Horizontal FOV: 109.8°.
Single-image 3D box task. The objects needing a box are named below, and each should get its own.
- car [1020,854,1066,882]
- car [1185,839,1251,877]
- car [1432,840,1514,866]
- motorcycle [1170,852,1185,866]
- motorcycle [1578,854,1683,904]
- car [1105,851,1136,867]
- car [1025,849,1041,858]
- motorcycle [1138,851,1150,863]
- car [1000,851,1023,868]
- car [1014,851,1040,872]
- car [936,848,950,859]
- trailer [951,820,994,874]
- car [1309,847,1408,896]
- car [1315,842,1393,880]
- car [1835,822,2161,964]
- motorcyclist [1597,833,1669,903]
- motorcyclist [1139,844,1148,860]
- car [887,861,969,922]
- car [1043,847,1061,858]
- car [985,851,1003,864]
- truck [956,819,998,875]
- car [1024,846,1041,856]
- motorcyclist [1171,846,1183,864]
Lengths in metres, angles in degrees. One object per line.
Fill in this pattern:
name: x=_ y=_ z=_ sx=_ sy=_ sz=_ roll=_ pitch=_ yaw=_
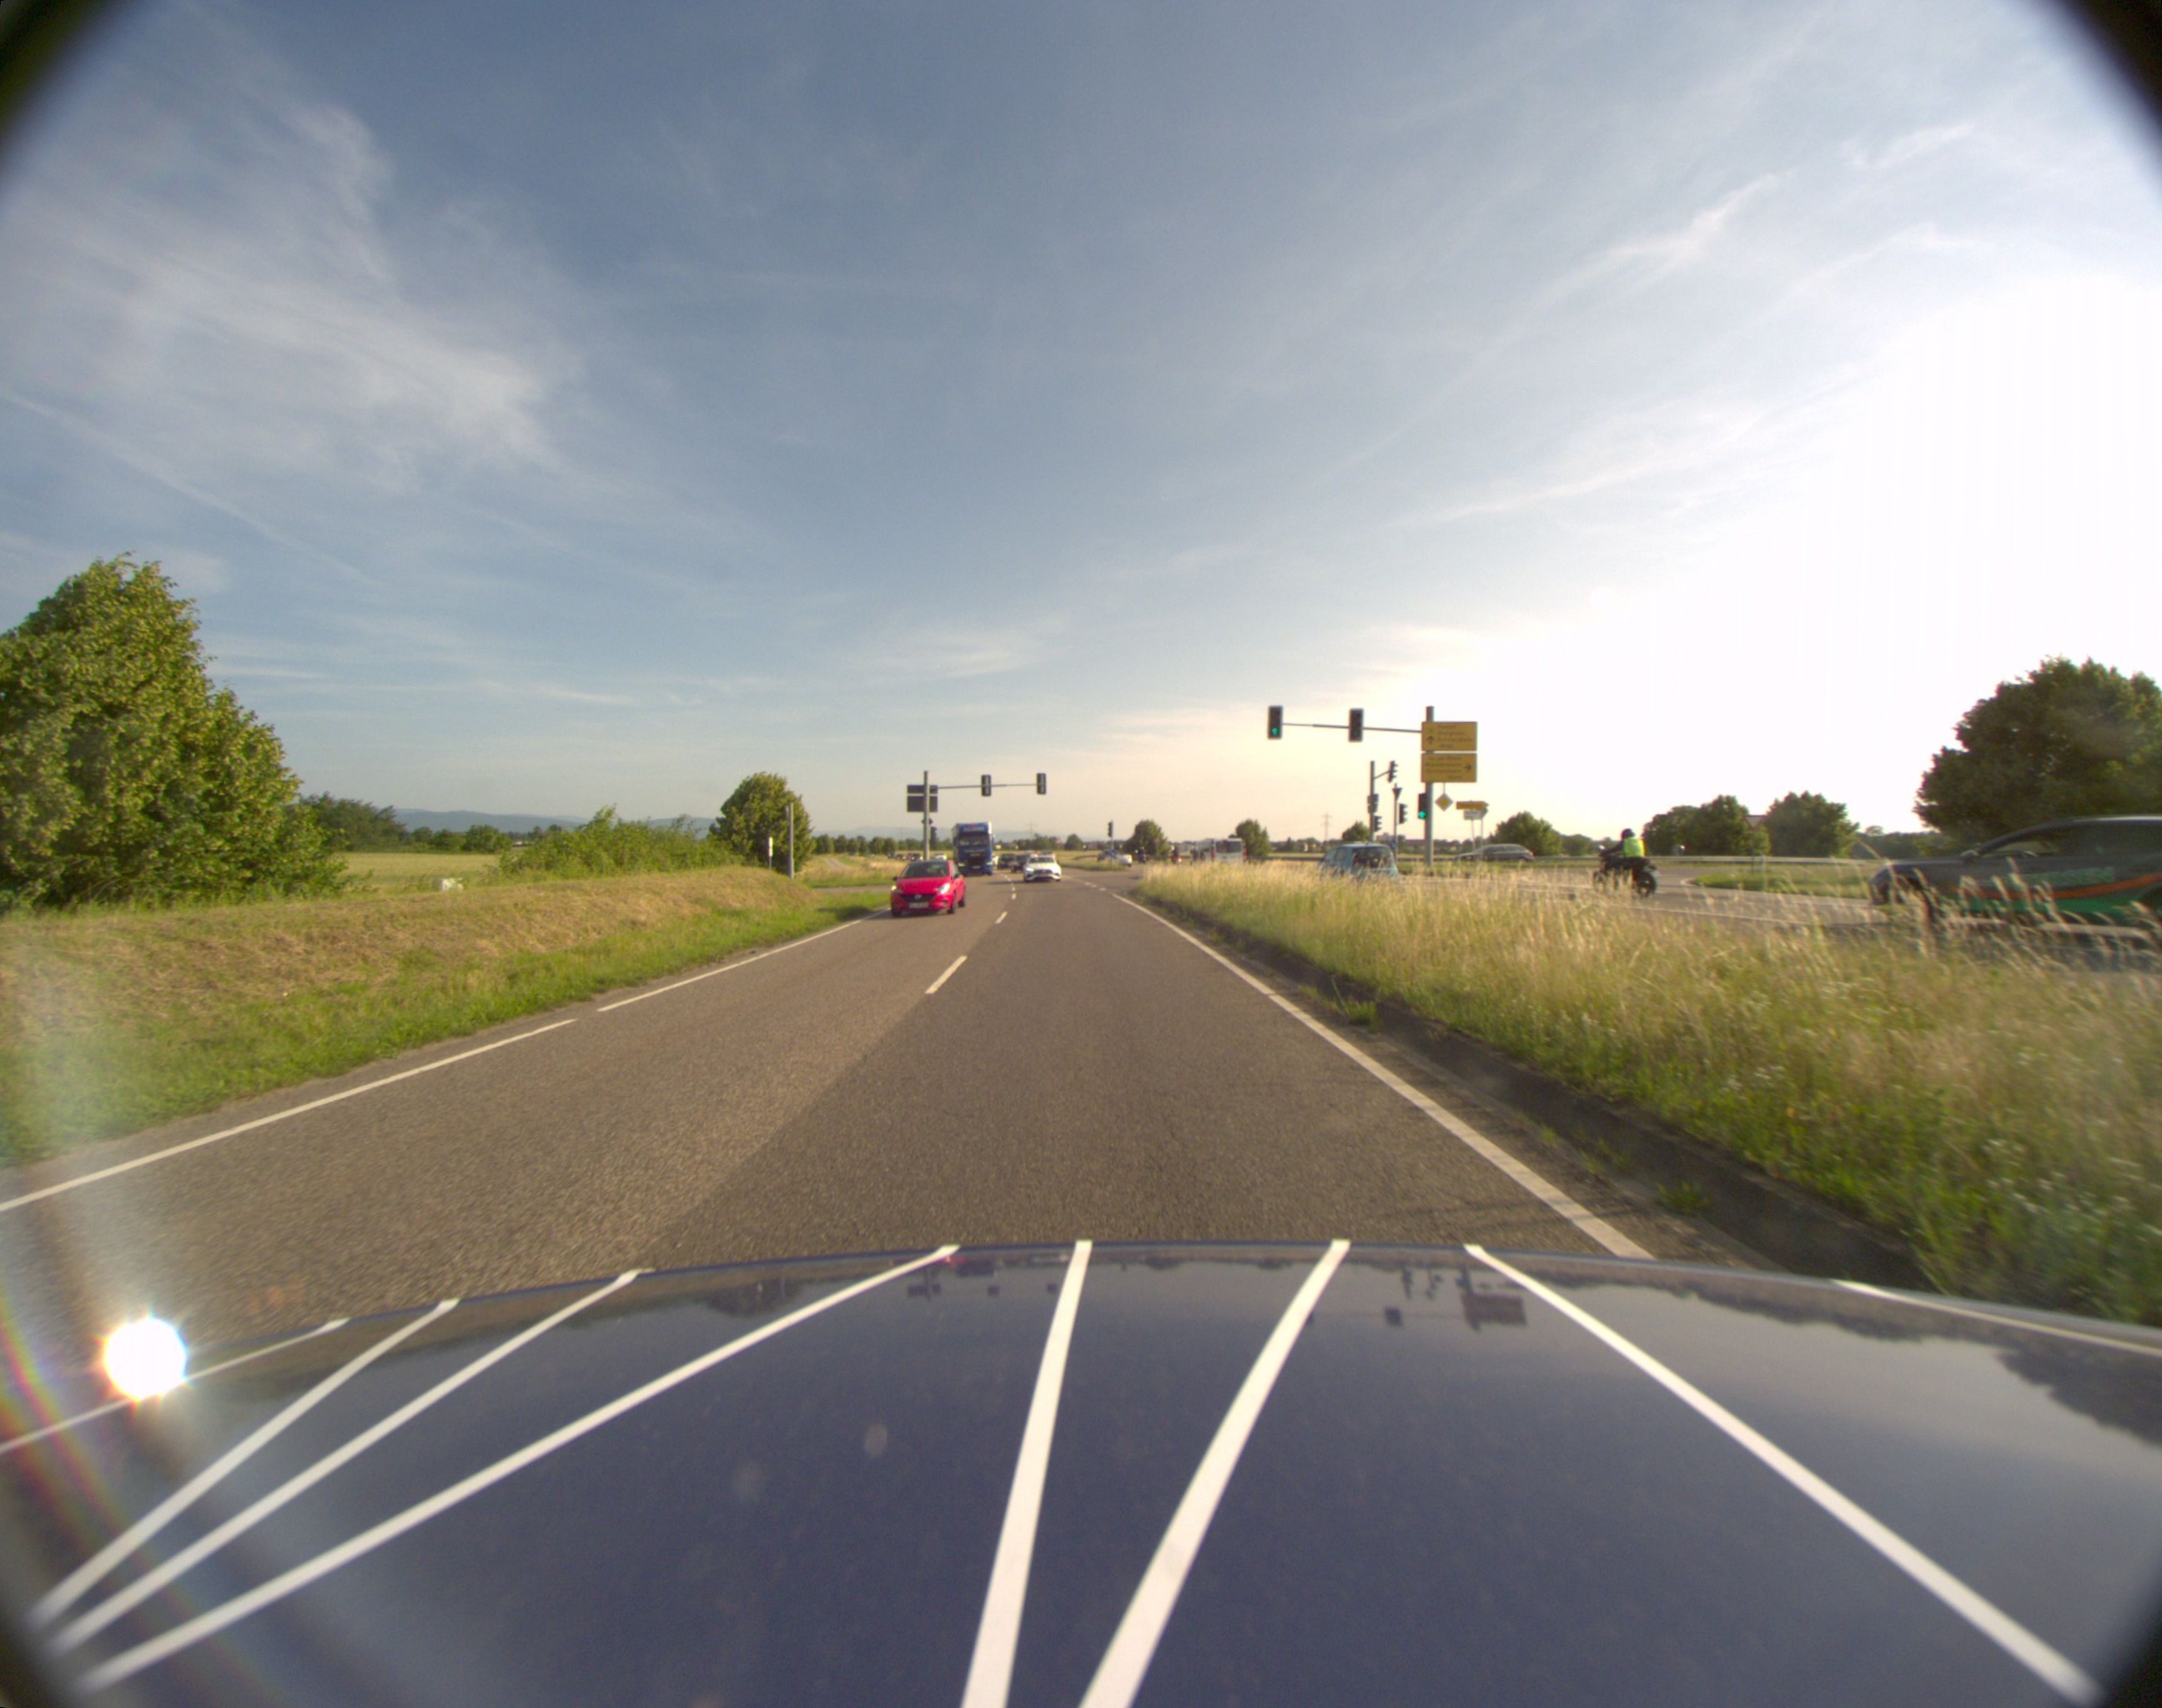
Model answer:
car: x=-2.131 y=0.703 z=41.406 sx=1.877 sy=1.390 sz=4.199 roll=-1 pitch=1 yaw=-12
car: x=7.462 y=0.187 z=41.953 sx=1.999 sy=1.893 sz=5.785 roll=-2 pitch=1 yaw=-6
car: x=23.442 y=-0.056 z=45.511 sx=4.000 sy=1.390 sz=1.958 roll=-2 pitch=1 yaw=-10
motorcycle: x=8.198 y=0.384 z=64.563 sx=0.710 sy=1.152 sz=2.021 roll=-2 pitch=1 yaw=-8
motorcycle: x=13.225 y=0.570 z=18.391 sx=0.754 sy=1.087 sz=2.307 roll=-2 pitch=1 yaw=-4
car: x=3.448 y=0.420 z=66.700 sx=1.700 sy=1.345 sz=4.449 roll=-2 pitch=1 yaw=-10
car: x=-7.722 y=-0.118 z=121.963 sx=1.667 sy=1.458 sz=4.016 roll=-2 pitch=1 yaw=-18
motorcycle: x=6.130 y=0.250 z=74.169 sx=0.703 sy=1.131 sz=2.276 roll=-2 pitch=0 yaw=-6
car: x=-6.681 y=0.491 z=72.777 sx=1.832 sy=1.521 sz=3.996 roll=-1 pitch=1 yaw=-11
car: x=-4.387 y=0.576 z=60.818 sx=1.753 sy=1.521 sz=3.997 roll=-1 pitch=1 yaw=-8
car: x=-23.642 y=-0.091 z=130.319 sx=2.001 sy=1.871 sz=3.994 roll=-1 pitch=0 yaw=-16
trailer: x=-9.263 y=-0.603 z=63.698 sx=2.654 sy=3.956 sz=13.915 roll=-3 pitch=1 yaw=-11
car: x=8.944 y=0.511 z=24.814 sx=1.683 sy=1.435 sz=3.750 roll=-2 pitch=1 yaw=-3
car: x=11.766 y=0.277 z=33.071 sx=1.710 sy=1.516 sz=4.133 roll=-2 pitch=1 yaw=-3
car: x=12.765 y=0.392 z=9.565 sx=1.918 sy=1.556 sz=4.609 roll=-1 pitch=0 yaw=-1
motorcyclist: x=13.236 y=0.325 z=18.265 sx=0.754 sy=1.595 sz=1.249 roll=-2 pitch=1 yaw=-4
motorcyclist: x=6.107 y=-0.189 z=74.219 sx=0.700 sy=1.494 sz=0.896 roll=-1 pitch=1 yaw=-6
car: x=-4.220 y=0.977 z=21.486 sx=1.666 sy=1.455 sz=3.953 roll=-2 pitch=1 yaw=-3
car: x=-3.967 y=-0.195 z=102.381 sx=1.692 sy=1.514 sz=4.087 roll=-2 pitch=1 yaw=-12
car: x=-10.042 y=0.430 z=87.431 sx=1.696 sy=1.406 sz=3.995 roll=-1 pitch=1 yaw=-13
truck: x=-7.888 y=-0.522 z=57.007 sx=2.653 sy=3.897 sz=5.944 roll=-3 pitch=1 yaw=-11
car: x=-7.200 y=-0.463 z=112.599 sx=1.736 sy=1.405 sz=4.389 roll=-2 pitch=1 yaw=-13
motorcyclist: x=8.164 y=0.063 z=64.597 sx=0.707 sy=1.456 sz=1.019 roll=-2 pitch=1 yaw=-8
